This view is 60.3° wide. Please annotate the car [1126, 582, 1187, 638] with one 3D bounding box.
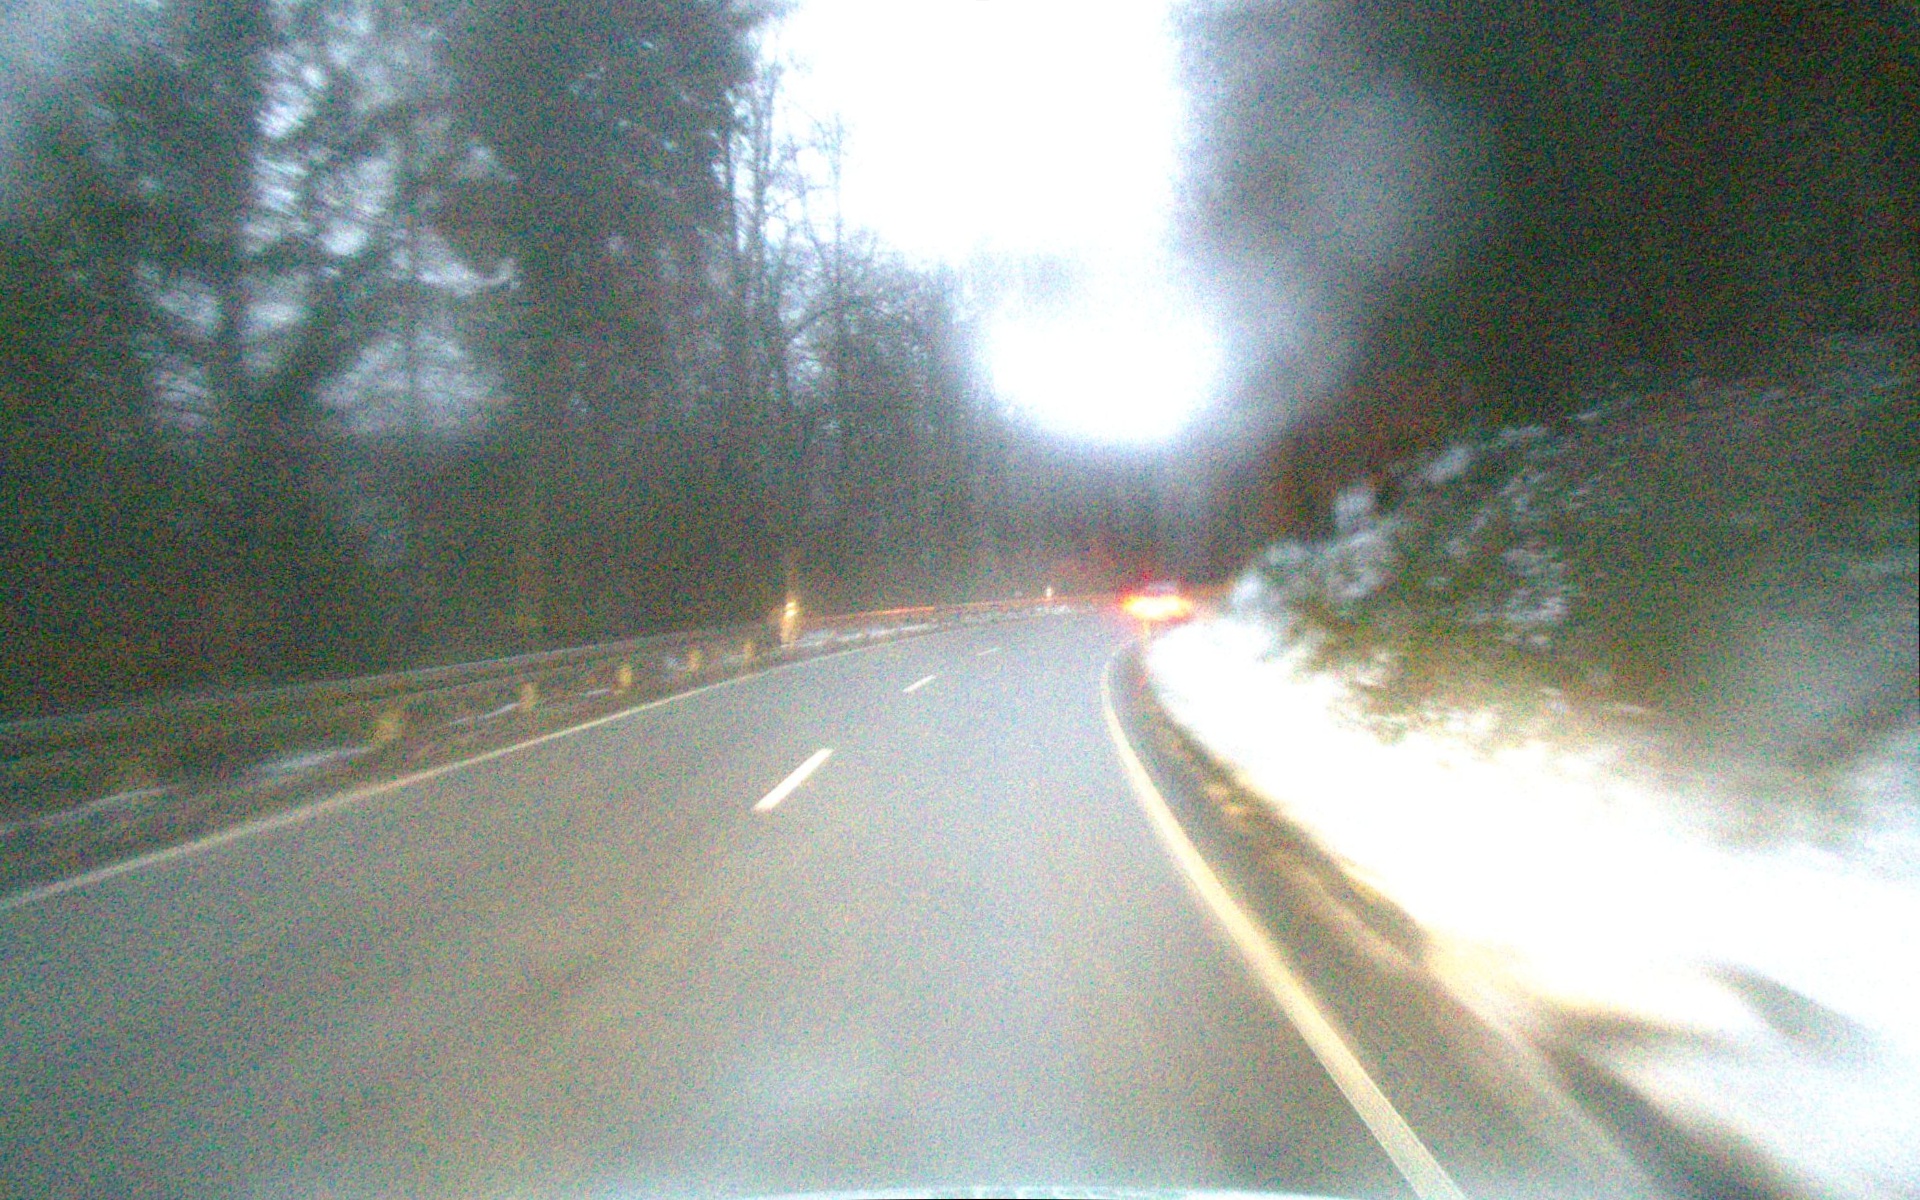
[{"bbox_3d":[7.192,0.335,60.271,1.951,1.905,4.004,-2,0,10],"label":"car"}]
